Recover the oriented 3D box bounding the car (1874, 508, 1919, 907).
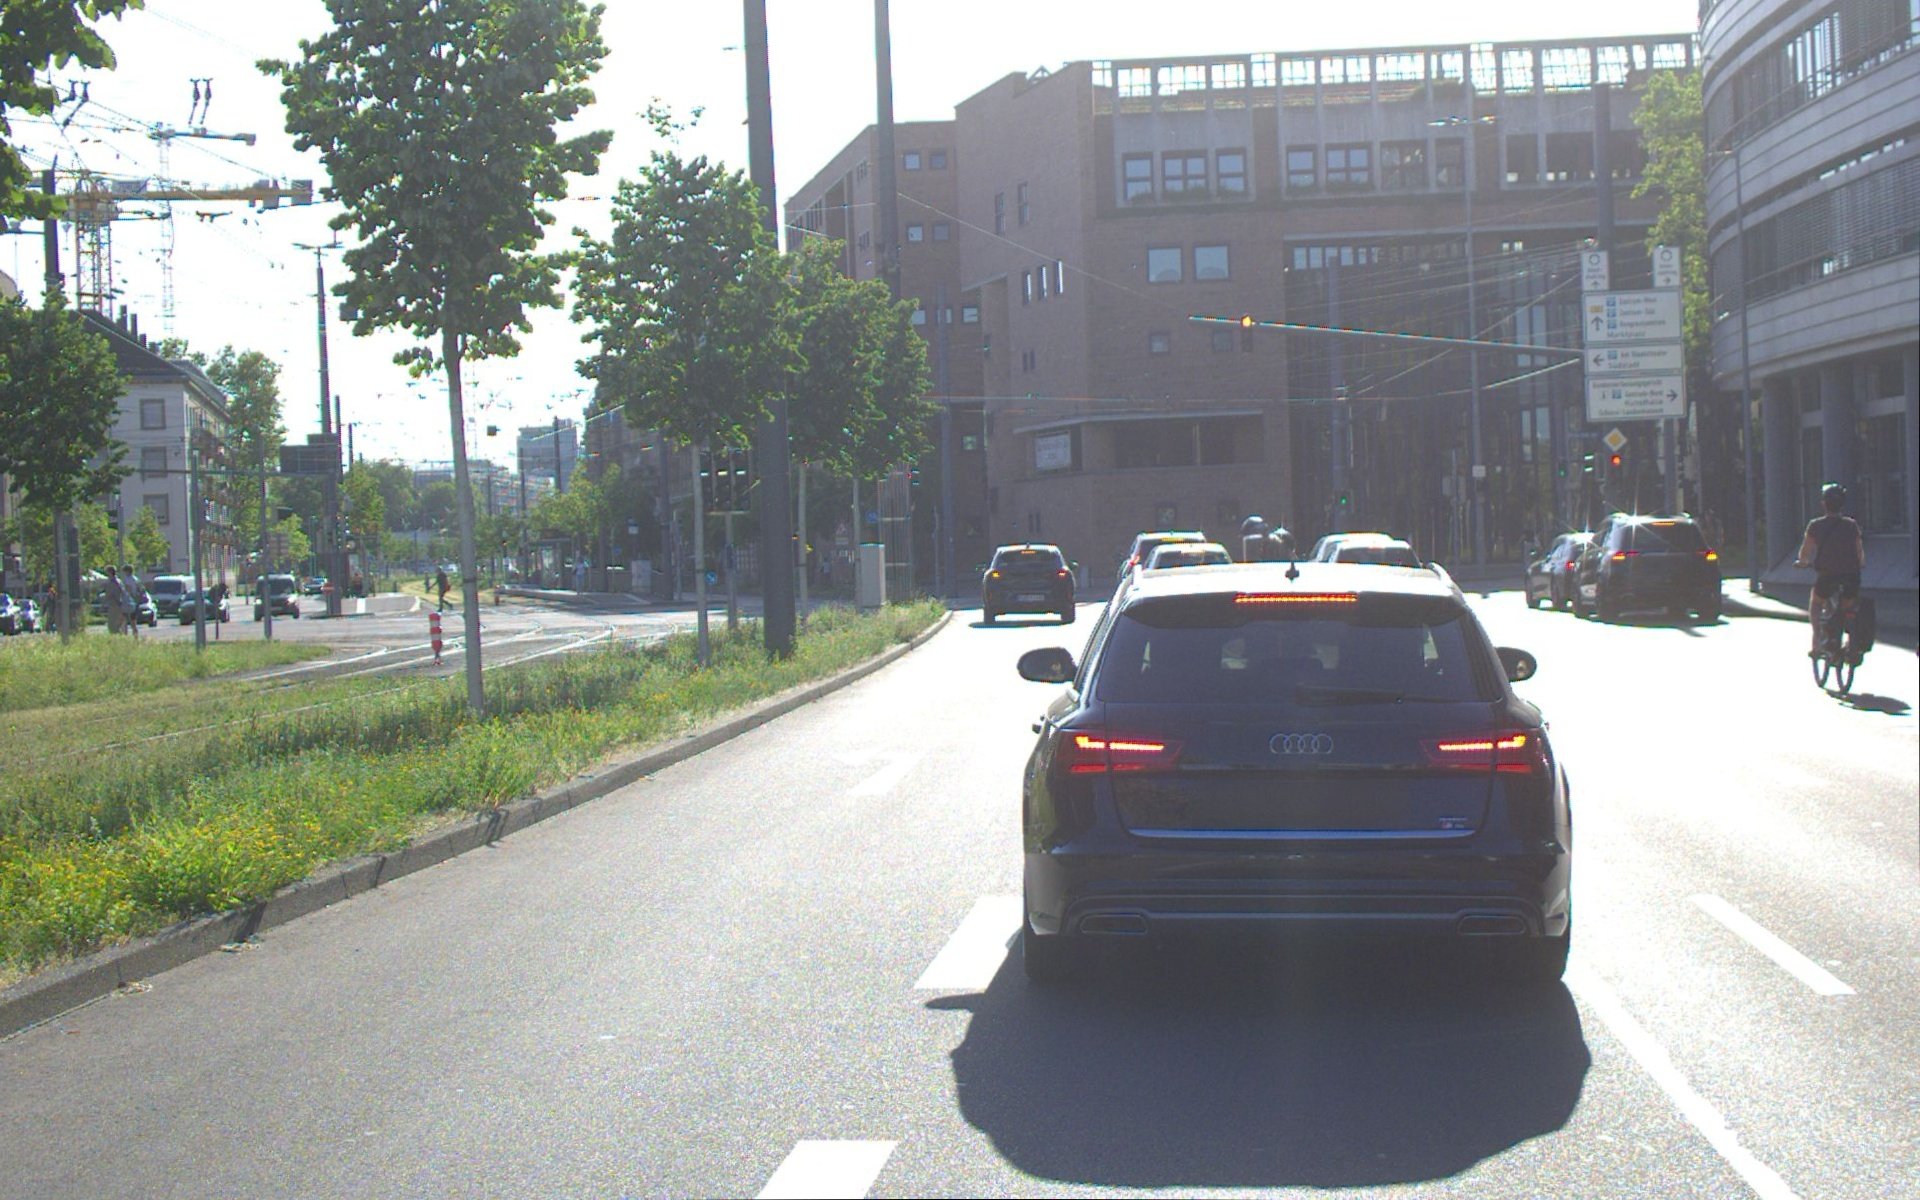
[{"bbox_3d":[4.568,0.442,12.713,1.688,1.623,4.462,-2,1,8],"label":"car"}]

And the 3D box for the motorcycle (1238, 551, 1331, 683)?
[{"bbox_3d":[2.949,0.136,31.345,0.775,1.111,1.969,-2,1,5],"label":"motorcycle"}]

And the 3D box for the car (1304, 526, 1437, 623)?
[{"bbox_3d":[6.501,-0.435,54.763,1.807,1.452,4.000,-1,1,3],"label":"car"}]

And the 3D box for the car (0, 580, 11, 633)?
[{"bbox_3d":[-38.718,0.286,135.829,1.993,2.007,4.001,-3,1,-11],"label":"car"}]

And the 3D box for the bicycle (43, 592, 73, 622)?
[{"bbox_3d":[-34.766,0.265,132.482,0.649,1.081,2.927,-2,1,-6],"label":"bicycle"}]

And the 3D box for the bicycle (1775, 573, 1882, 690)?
[{"bbox_3d":[8.055,0.277,31.962,0.492,0.994,2.328,-2,1,3],"label":"bicycle"}]

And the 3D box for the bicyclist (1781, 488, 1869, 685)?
[{"bbox_3d":[8.035,-0.132,31.949,0.577,1.785,0.863,-2,1,3],"label":"bicyclist"}]

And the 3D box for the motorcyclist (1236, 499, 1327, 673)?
[{"bbox_3d":[2.913,-0.134,31.134,0.745,1.525,1.020,-2,1,5],"label":"motorcyclist"}]

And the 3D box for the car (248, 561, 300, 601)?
[{"bbox_3d":[-27.463,-0.764,137.570,1.744,1.499,3.881,-3,1,-15],"label":"car"}]

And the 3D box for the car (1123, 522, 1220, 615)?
[{"bbox_3d":[4.012,-0.624,65.518,1.737,1.645,4.000,-2,1,3],"label":"car"}]

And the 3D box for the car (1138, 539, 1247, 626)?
[{"bbox_3d":[3.910,-0.325,58.264,1.737,1.345,4.000,-2,1,3],"label":"car"}]

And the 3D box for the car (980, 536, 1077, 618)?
[{"bbox_3d":[1.317,-0.464,64.806,1.649,1.428,4.000,-2,1,3],"label":"car"}]

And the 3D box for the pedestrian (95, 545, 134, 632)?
[{"bbox_3d":[-17.876,-0.248,72.683,0.631,1.823,0.663,-2,1,-4],"label":"pedestrian"}]

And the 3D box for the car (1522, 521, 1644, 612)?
[{"bbox_3d":[12.092,-0.672,66.911,1.994,1.645,3.999,-2,1,6],"label":"car"}]

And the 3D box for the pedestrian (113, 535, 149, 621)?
[{"bbox_3d":[-17.825,-0.484,73.943,0.563,1.811,0.663,-2,1,-4],"label":"pedestrian"}]

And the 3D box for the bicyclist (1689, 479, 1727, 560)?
[{"bbox_3d":[15.285,-1.651,70.231,0.684,1.612,0.990,-2,1,14],"label":"bicyclist"}]

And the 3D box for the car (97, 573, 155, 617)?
[{"bbox_3d":[-33.561,-0.232,138.440,1.993,1.590,4.740,-3,2,-11],"label":"car"}]

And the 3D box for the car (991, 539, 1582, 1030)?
[{"bbox_3d":[1.287,0.543,12.944,1.811,1.487,4.495,-1,1,7],"label":"car"}]

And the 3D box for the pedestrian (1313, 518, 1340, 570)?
[{"bbox_3d":[12.584,-1.928,118.021,0.707,1.753,0.560,-2,1,27],"label":"pedestrian"}]

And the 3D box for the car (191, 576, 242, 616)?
[{"bbox_3d":[-29.972,-0.162,138.607,1.744,1.499,3.881,-3,1,-15],"label":"car"}]

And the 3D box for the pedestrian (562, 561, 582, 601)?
[{"bbox_3d":[-16.431,-0.808,145.595,0.742,1.634,0.768,-3,1,-11],"label":"pedestrian"}]

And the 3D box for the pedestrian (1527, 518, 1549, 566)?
[{"bbox_3d":[17.754,-1.781,105.565,0.529,1.425,0.598,-2,1,2],"label":"pedestrian"}]

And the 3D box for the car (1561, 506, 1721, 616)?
[{"bbox_3d":[11.640,-0.689,59.035,1.994,1.744,4.329,-2,1,2],"label":"car"}]
